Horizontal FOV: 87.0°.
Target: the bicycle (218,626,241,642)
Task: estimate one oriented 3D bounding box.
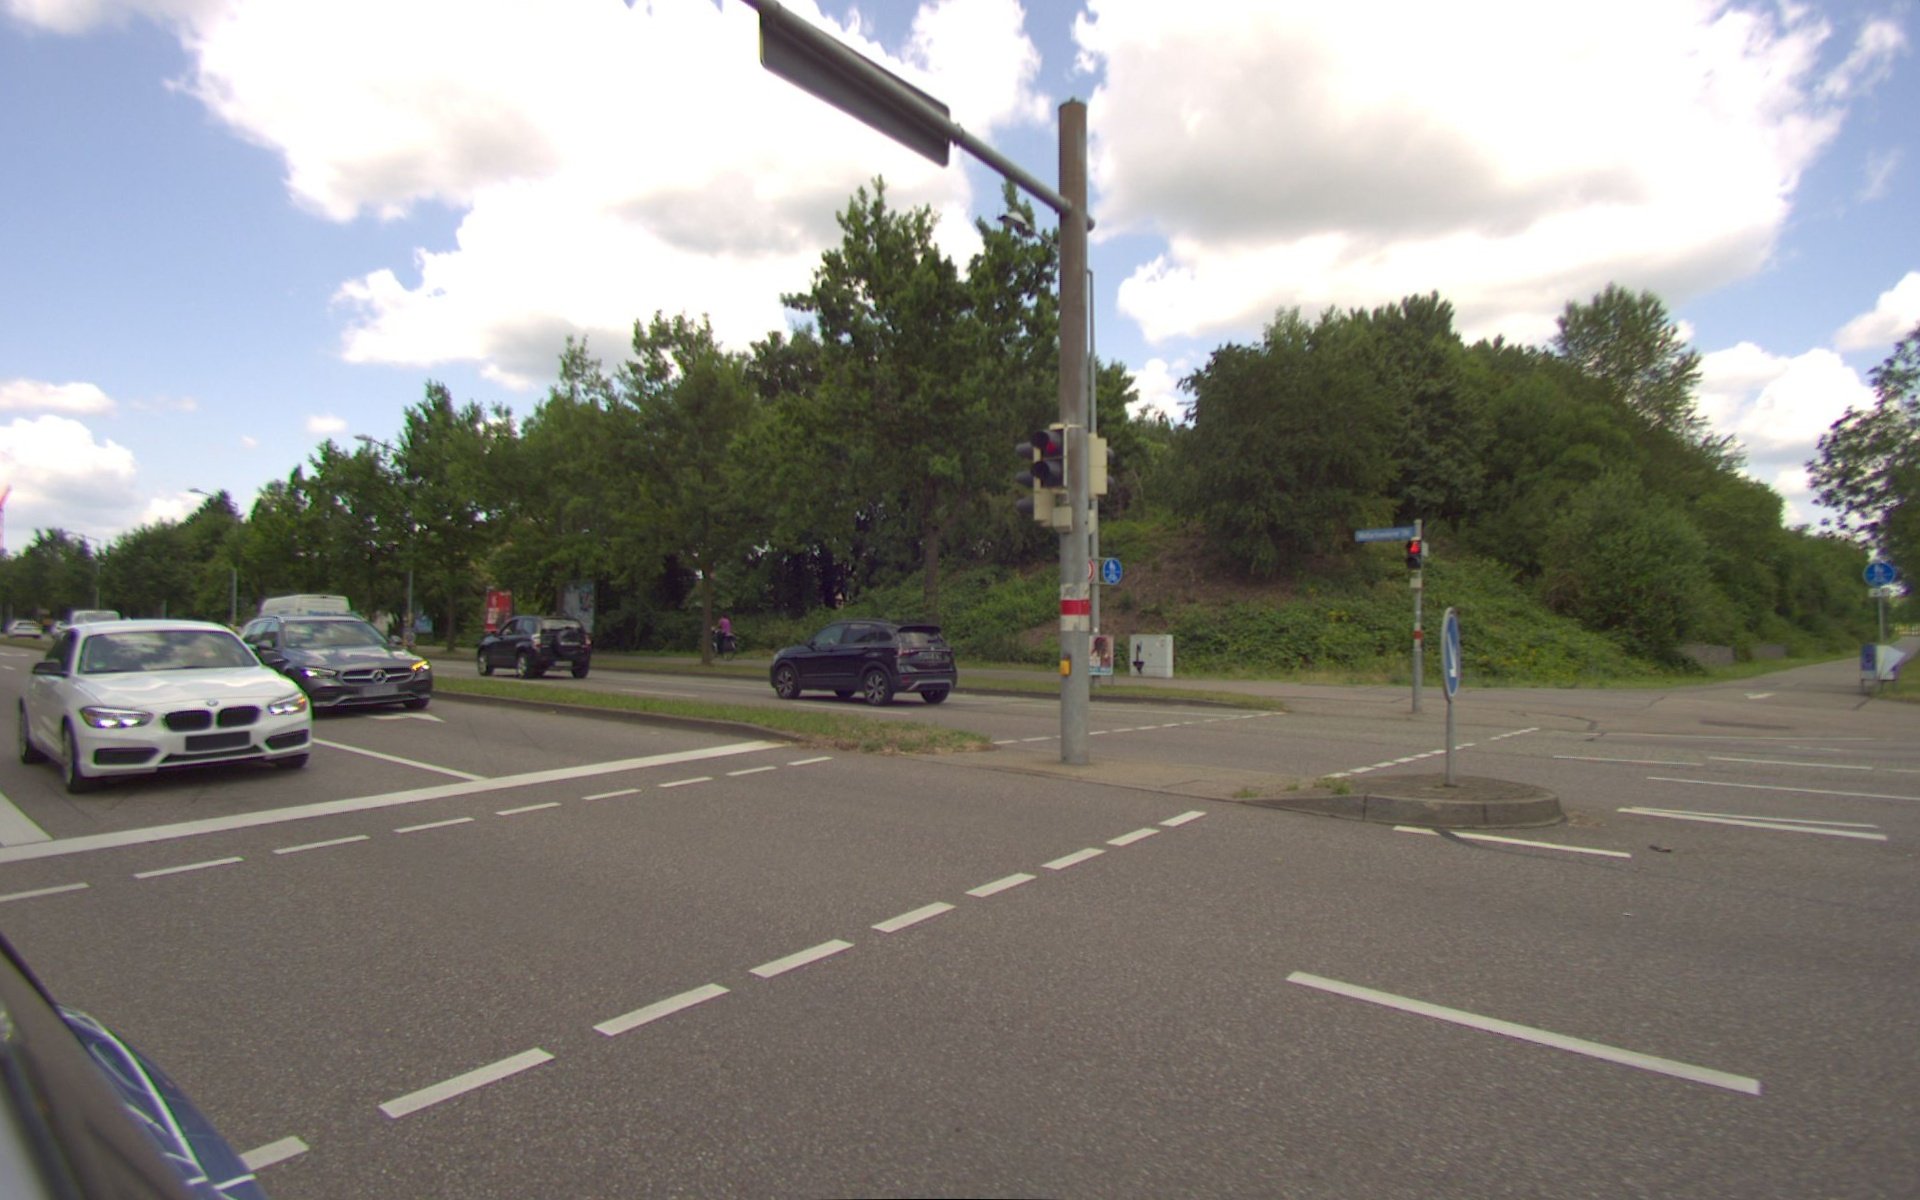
[{"bbox_3d":[-55.683,2.583,77.160,2.254,1.170,0.743,-1,-2,37],"label":"bicycle"}]

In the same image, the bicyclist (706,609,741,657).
[{"bbox_3d":[-8.856,1.208,37.912,0.997,1.760,0.883,-1,-1,42],"label":"bicyclist"}]

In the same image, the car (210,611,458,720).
[{"bbox_3d":[-9.871,0.928,15.787,4.829,1.426,1.973,-1,-1,41],"label":"car"}]

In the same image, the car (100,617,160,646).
[{"bbox_3d":[-53.812,2.063,65.585,4.401,1.815,1.975,-1,-2,37],"label":"car"}]

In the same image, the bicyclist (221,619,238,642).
[{"bbox_3d":[-55.765,2.328,77.233,0.979,1.671,0.731,-1,-3,36],"label":"bicyclist"}]

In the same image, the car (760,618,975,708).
[{"bbox_3d":[-1.831,1.132,19.411,3.998,1.541,1.905,-1,-2,41],"label":"car"}]

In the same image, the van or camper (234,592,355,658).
[{"bbox_3d":[-27.984,1.029,42.419,7.058,2.559,2.328,-1,-1,40],"label":"van or camper"}]

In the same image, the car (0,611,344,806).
[{"bbox_3d":[-7.866,0.881,9.906,4.293,1.425,1.895,-1,1,41],"label":"car"}]

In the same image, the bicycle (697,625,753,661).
[{"bbox_3d":[-8.805,1.576,37.915,2.392,1.280,0.813,-1,0,42],"label":"bicycle"}]

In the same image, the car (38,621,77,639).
[{"bbox_3d":[-77.680,2.610,87.101,4.412,1.454,1.895,-1,-4,40],"label":"car"}]

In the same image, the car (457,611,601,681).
[{"bbox_3d":[-11.916,1.222,27.898,4.217,1.780,1.973,-1,-2,40],"label":"car"}]

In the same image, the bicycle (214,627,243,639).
[{"bbox_3d":[-65.747,2.990,90.973,2.117,1.023,0.665,1,-2,-4],"label":"bicycle"}]

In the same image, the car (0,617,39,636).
[{"bbox_3d":[-75.605,2.145,81.166,5.022,1.442,1.972,-1,-2,42],"label":"car"}]

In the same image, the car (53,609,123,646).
[{"bbox_3d":[-49.029,1.535,56.866,5.189,1.979,2.168,-1,-3,40],"label":"car"}]
